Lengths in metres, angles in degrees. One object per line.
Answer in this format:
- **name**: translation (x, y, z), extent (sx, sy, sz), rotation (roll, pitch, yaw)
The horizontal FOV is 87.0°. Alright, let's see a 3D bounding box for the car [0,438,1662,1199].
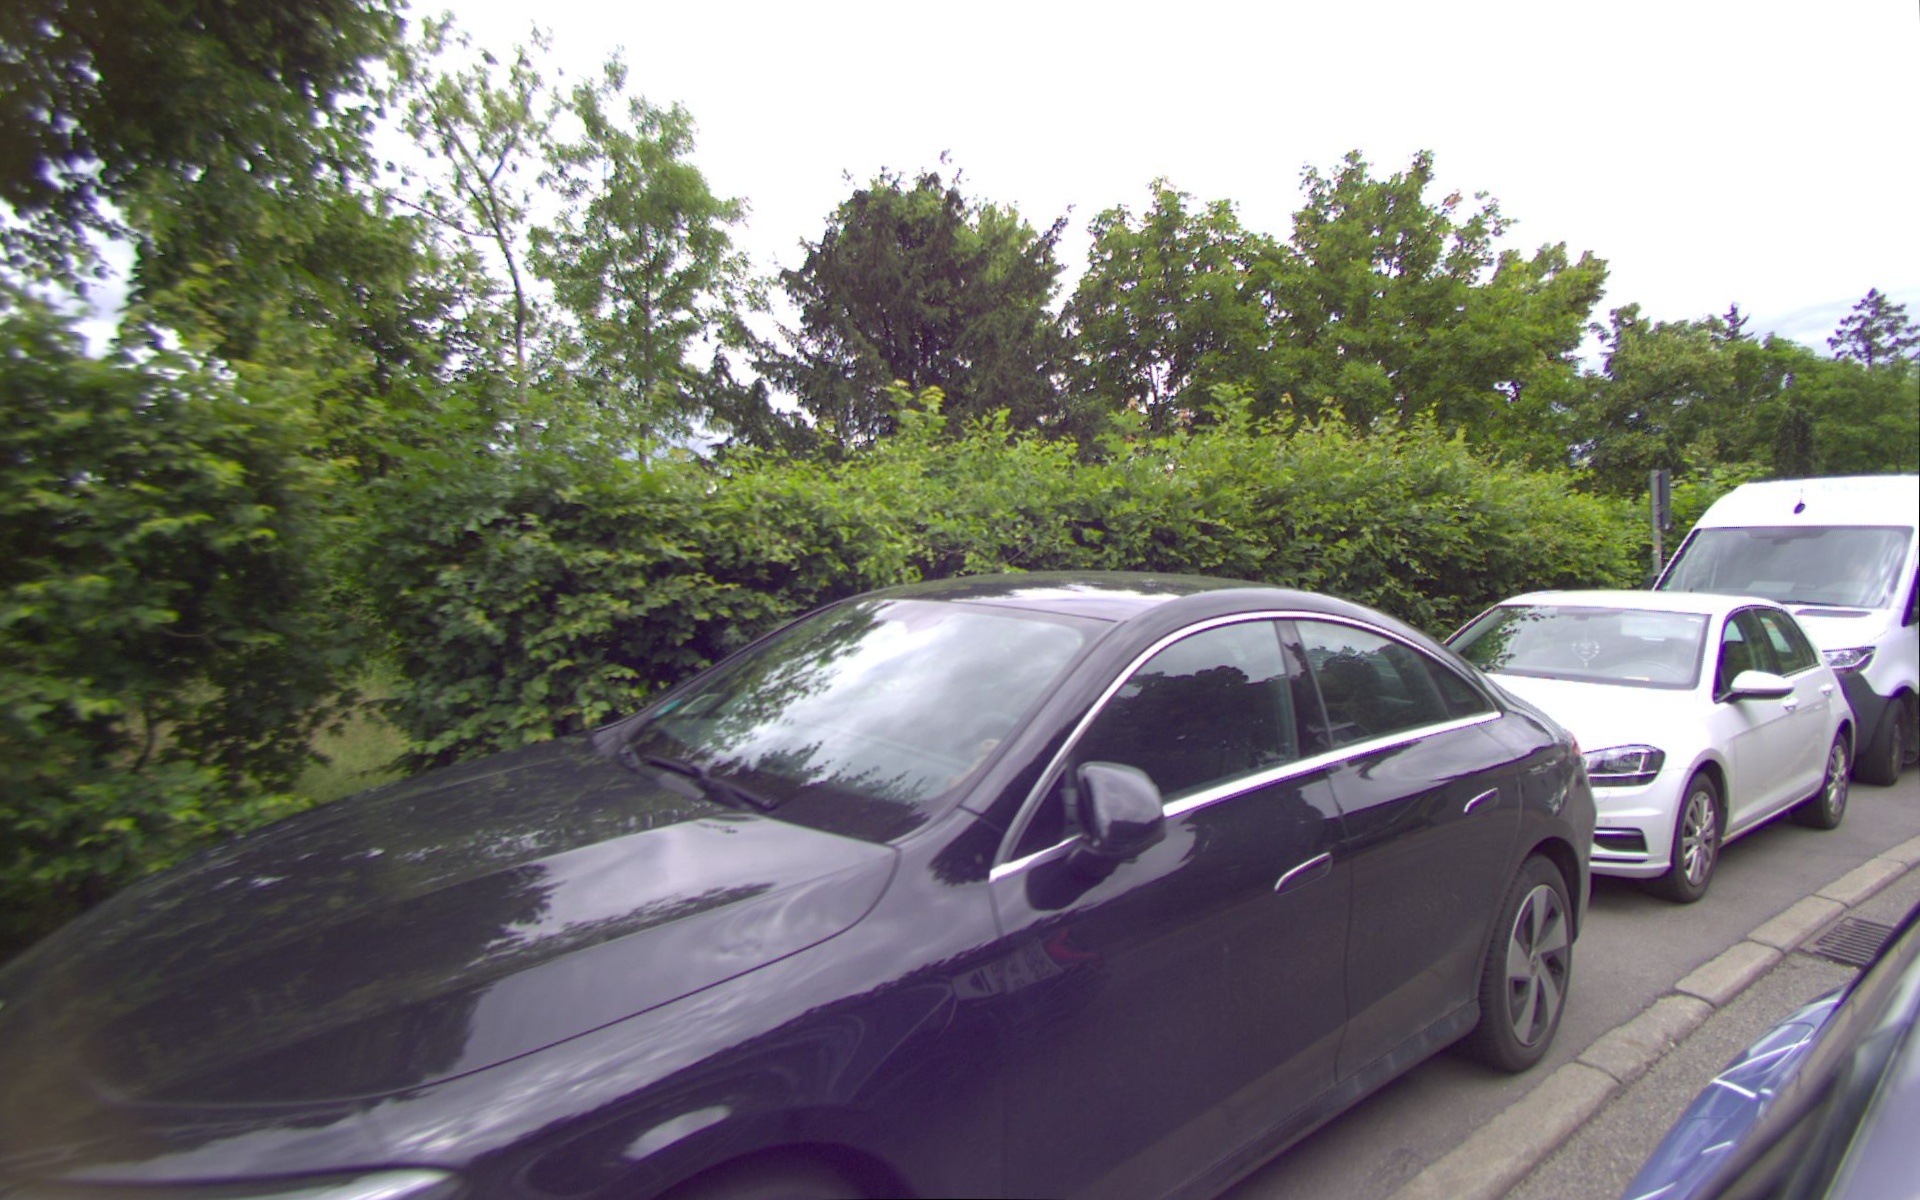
- **car**: translation (0.244, 0.600, 2.830), extent (4.581, 1.482, 1.704), rotation (0, 1, -40)

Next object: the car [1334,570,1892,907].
- **car**: translation (4.170, 0.587, 6.276), extent (3.764, 1.482, 1.706), rotation (0, 1, -37)

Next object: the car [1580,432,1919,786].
- **car**: translation (8.644, 0.038, 9.638), extent (5.727, 2.554, 2.094), rotation (0, 2, -30)
